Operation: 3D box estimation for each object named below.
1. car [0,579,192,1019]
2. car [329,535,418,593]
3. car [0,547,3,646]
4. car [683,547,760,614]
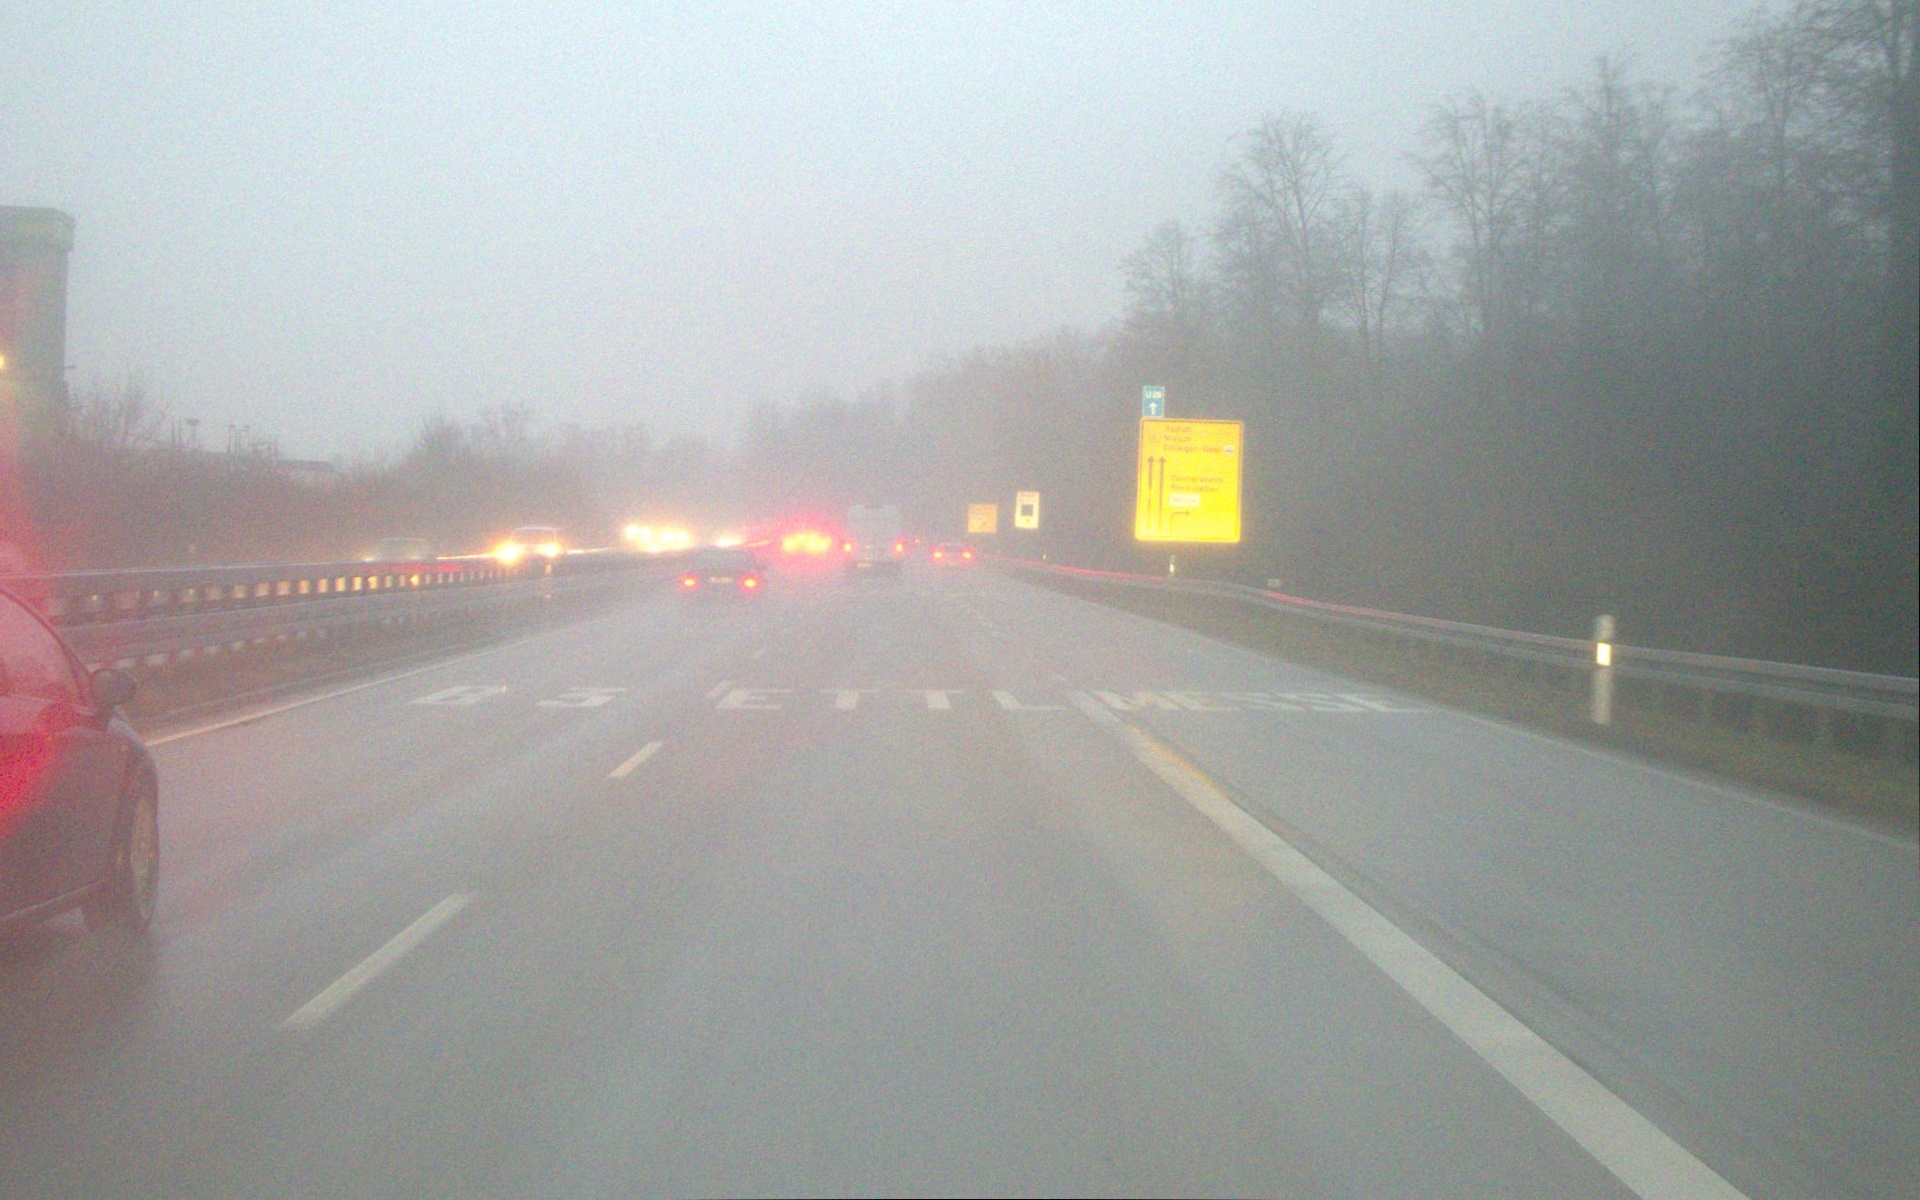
[{"bbox_3d":[-3.963,0.630,12.335,1.625,1.387,4.000,2,1,-2],"label":"car"},{"bbox_3d":[-15.943,-0.980,93.595,1.736,1.503,4.000,1,1,-1],"label":"car"},{"bbox_3d":[-15.458,-0.048,50.407,1.736,1.503,4.000,2,1,-1],"label":"car"},{"bbox_3d":[-4.944,-0.422,71.646,1.416,1.312,3.083,2,1,-1],"label":"car"}]
